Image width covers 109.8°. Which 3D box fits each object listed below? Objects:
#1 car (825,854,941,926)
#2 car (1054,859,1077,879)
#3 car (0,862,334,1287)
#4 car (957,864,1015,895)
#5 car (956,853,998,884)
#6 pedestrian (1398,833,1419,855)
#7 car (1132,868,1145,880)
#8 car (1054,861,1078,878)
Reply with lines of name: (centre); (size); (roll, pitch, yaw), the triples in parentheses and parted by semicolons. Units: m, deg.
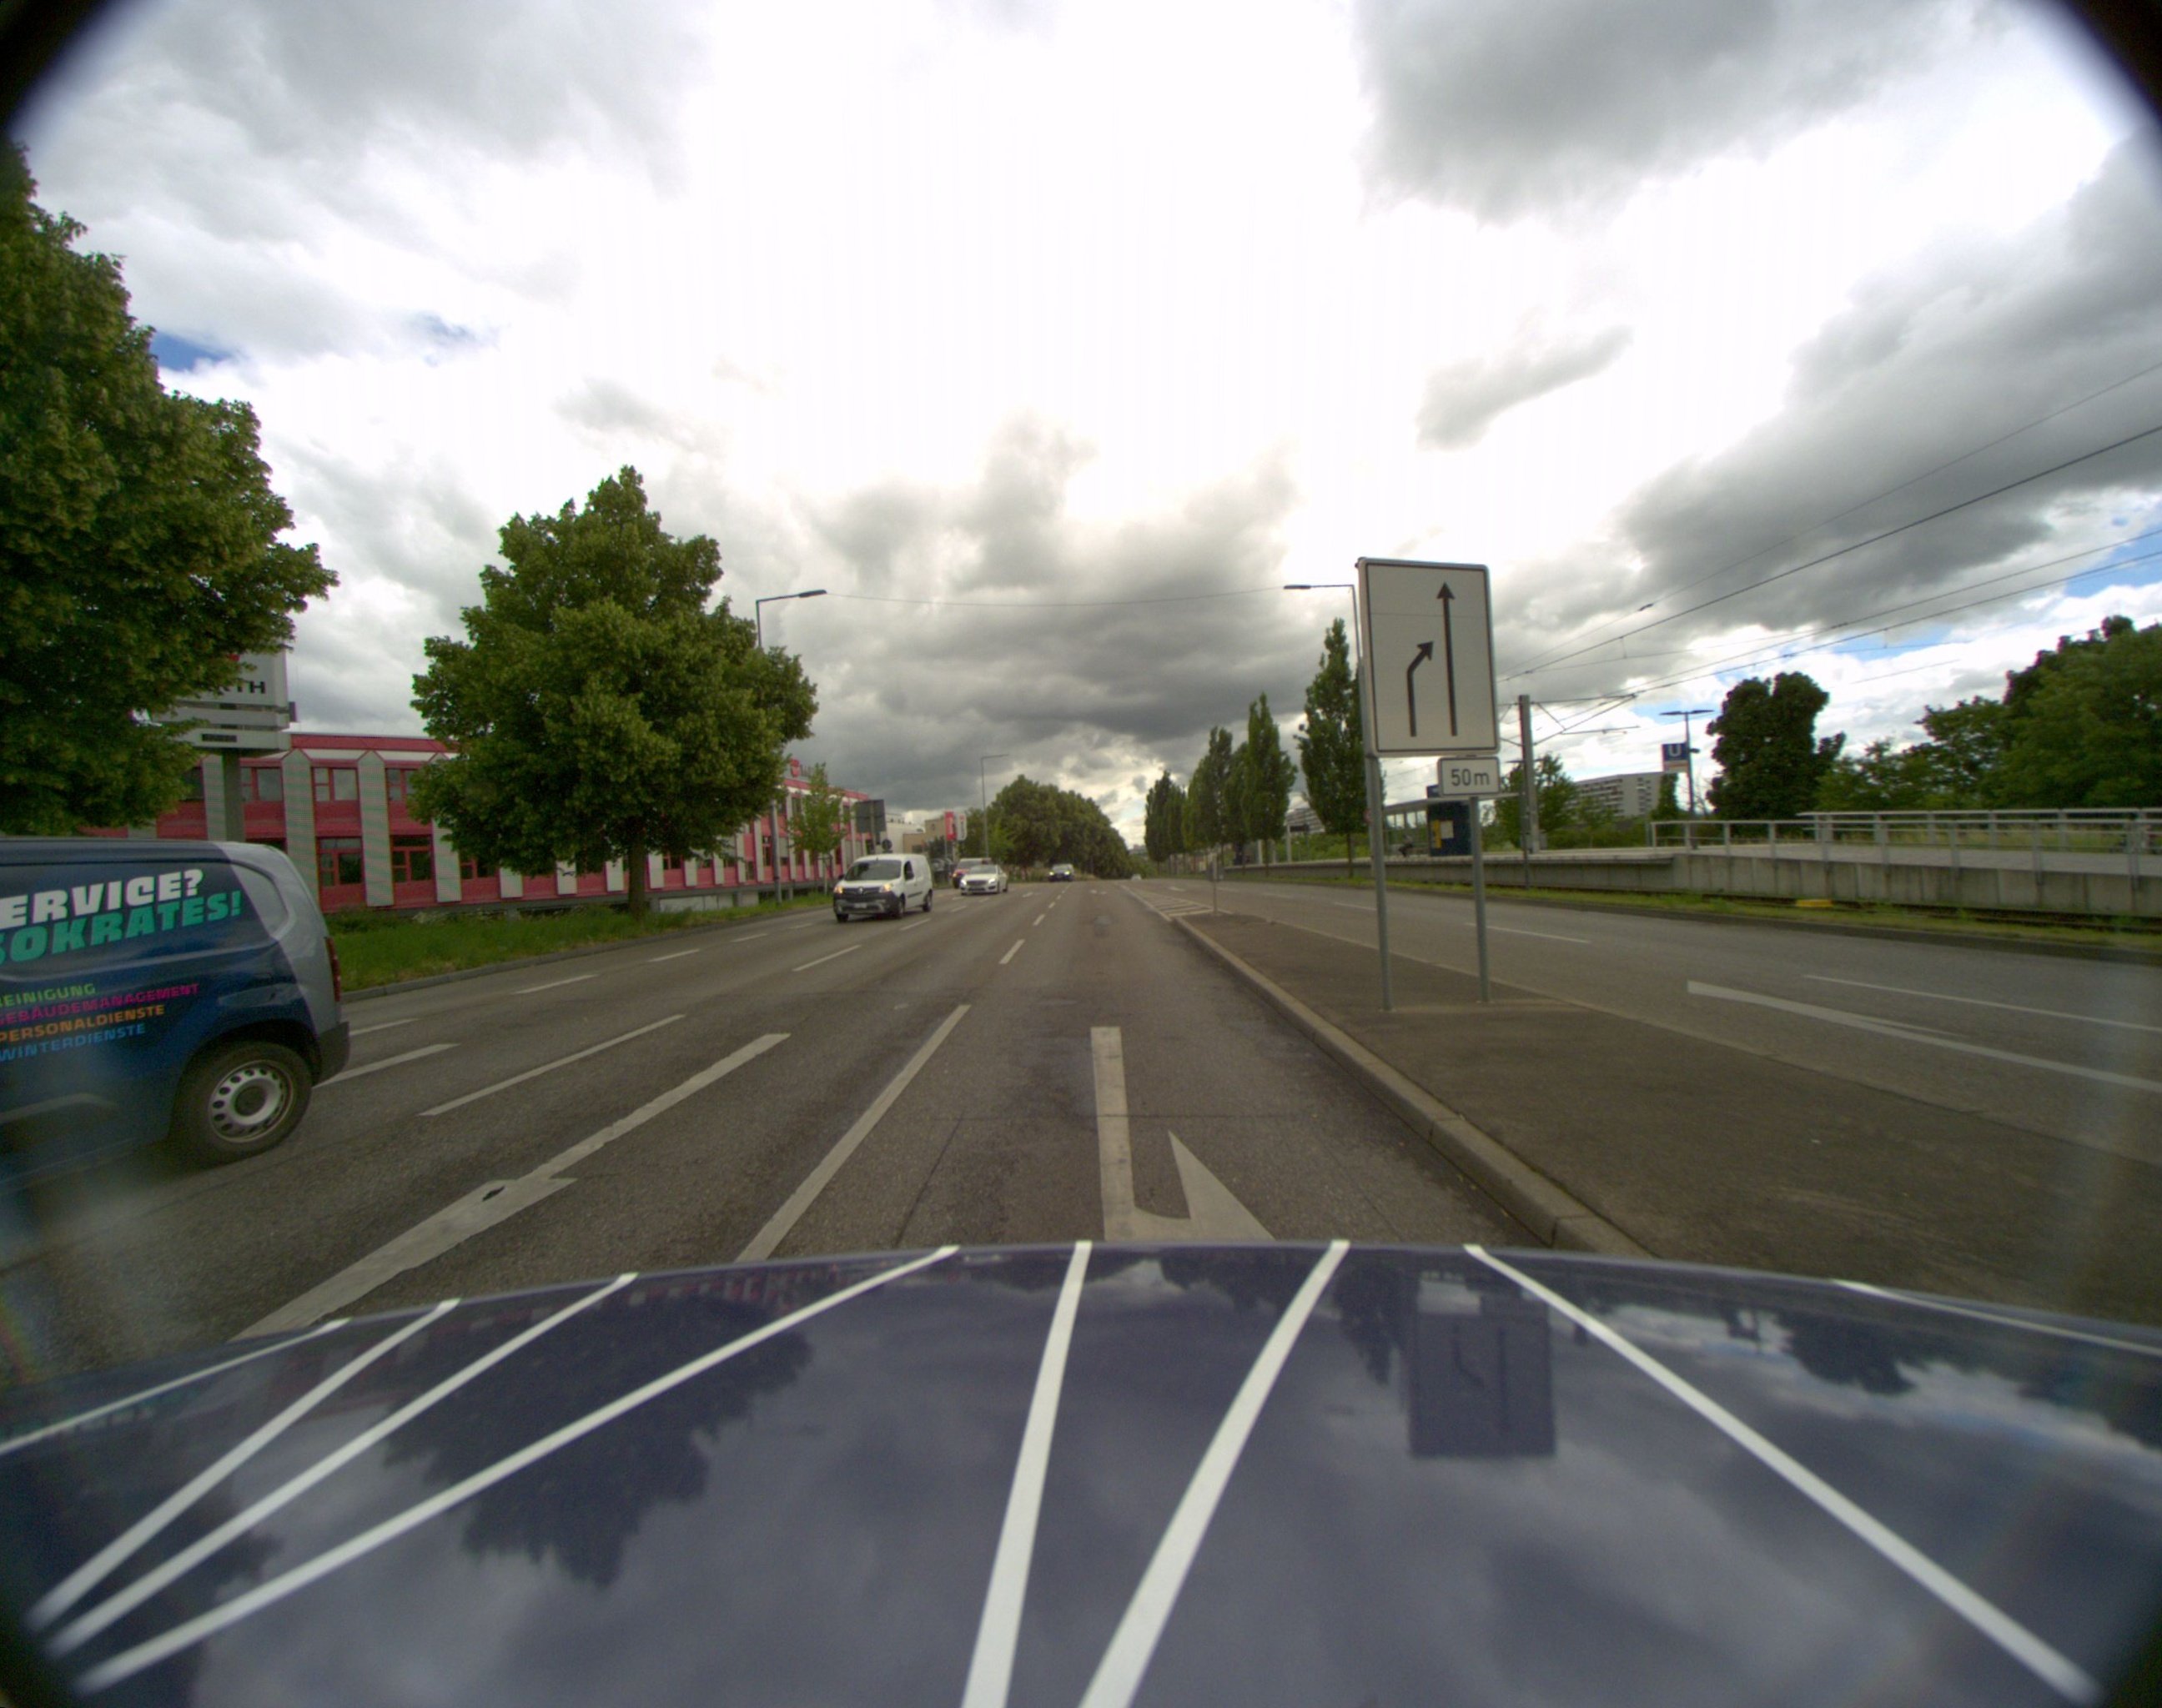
car: (-5.509, 0.938, 21.798); (1.813, 1.781, 4.698); (-2, -1, 3)
car: (-1.636, 1.636, 82.851); (1.949, 1.895, 5.238); (-2, 1, 5)
car: (-5.482, 0.982, 2.528); (1.814, 1.770, 4.221); (-2, 1, -2)
car: (-4.563, 1.272, 37.088); (1.812, 1.332, 4.226); (-2, -3, 6)
car: (-6.996, 1.032, 51.532); (2.184, 1.893, 4.455); (-2, -3, -1)
pedestrian: (17.885, -0.557, 41.458); (0.751, 1.169, 0.837); (-2, 1, 0)
car: (10.159, 3.521, 134.892); (1.998, 2.002, 4.000); (-2, 1, 3)
car: (-1.323, 1.426, 68.049); (1.813, 1.332, 4.225); (-2, -3, 2)
